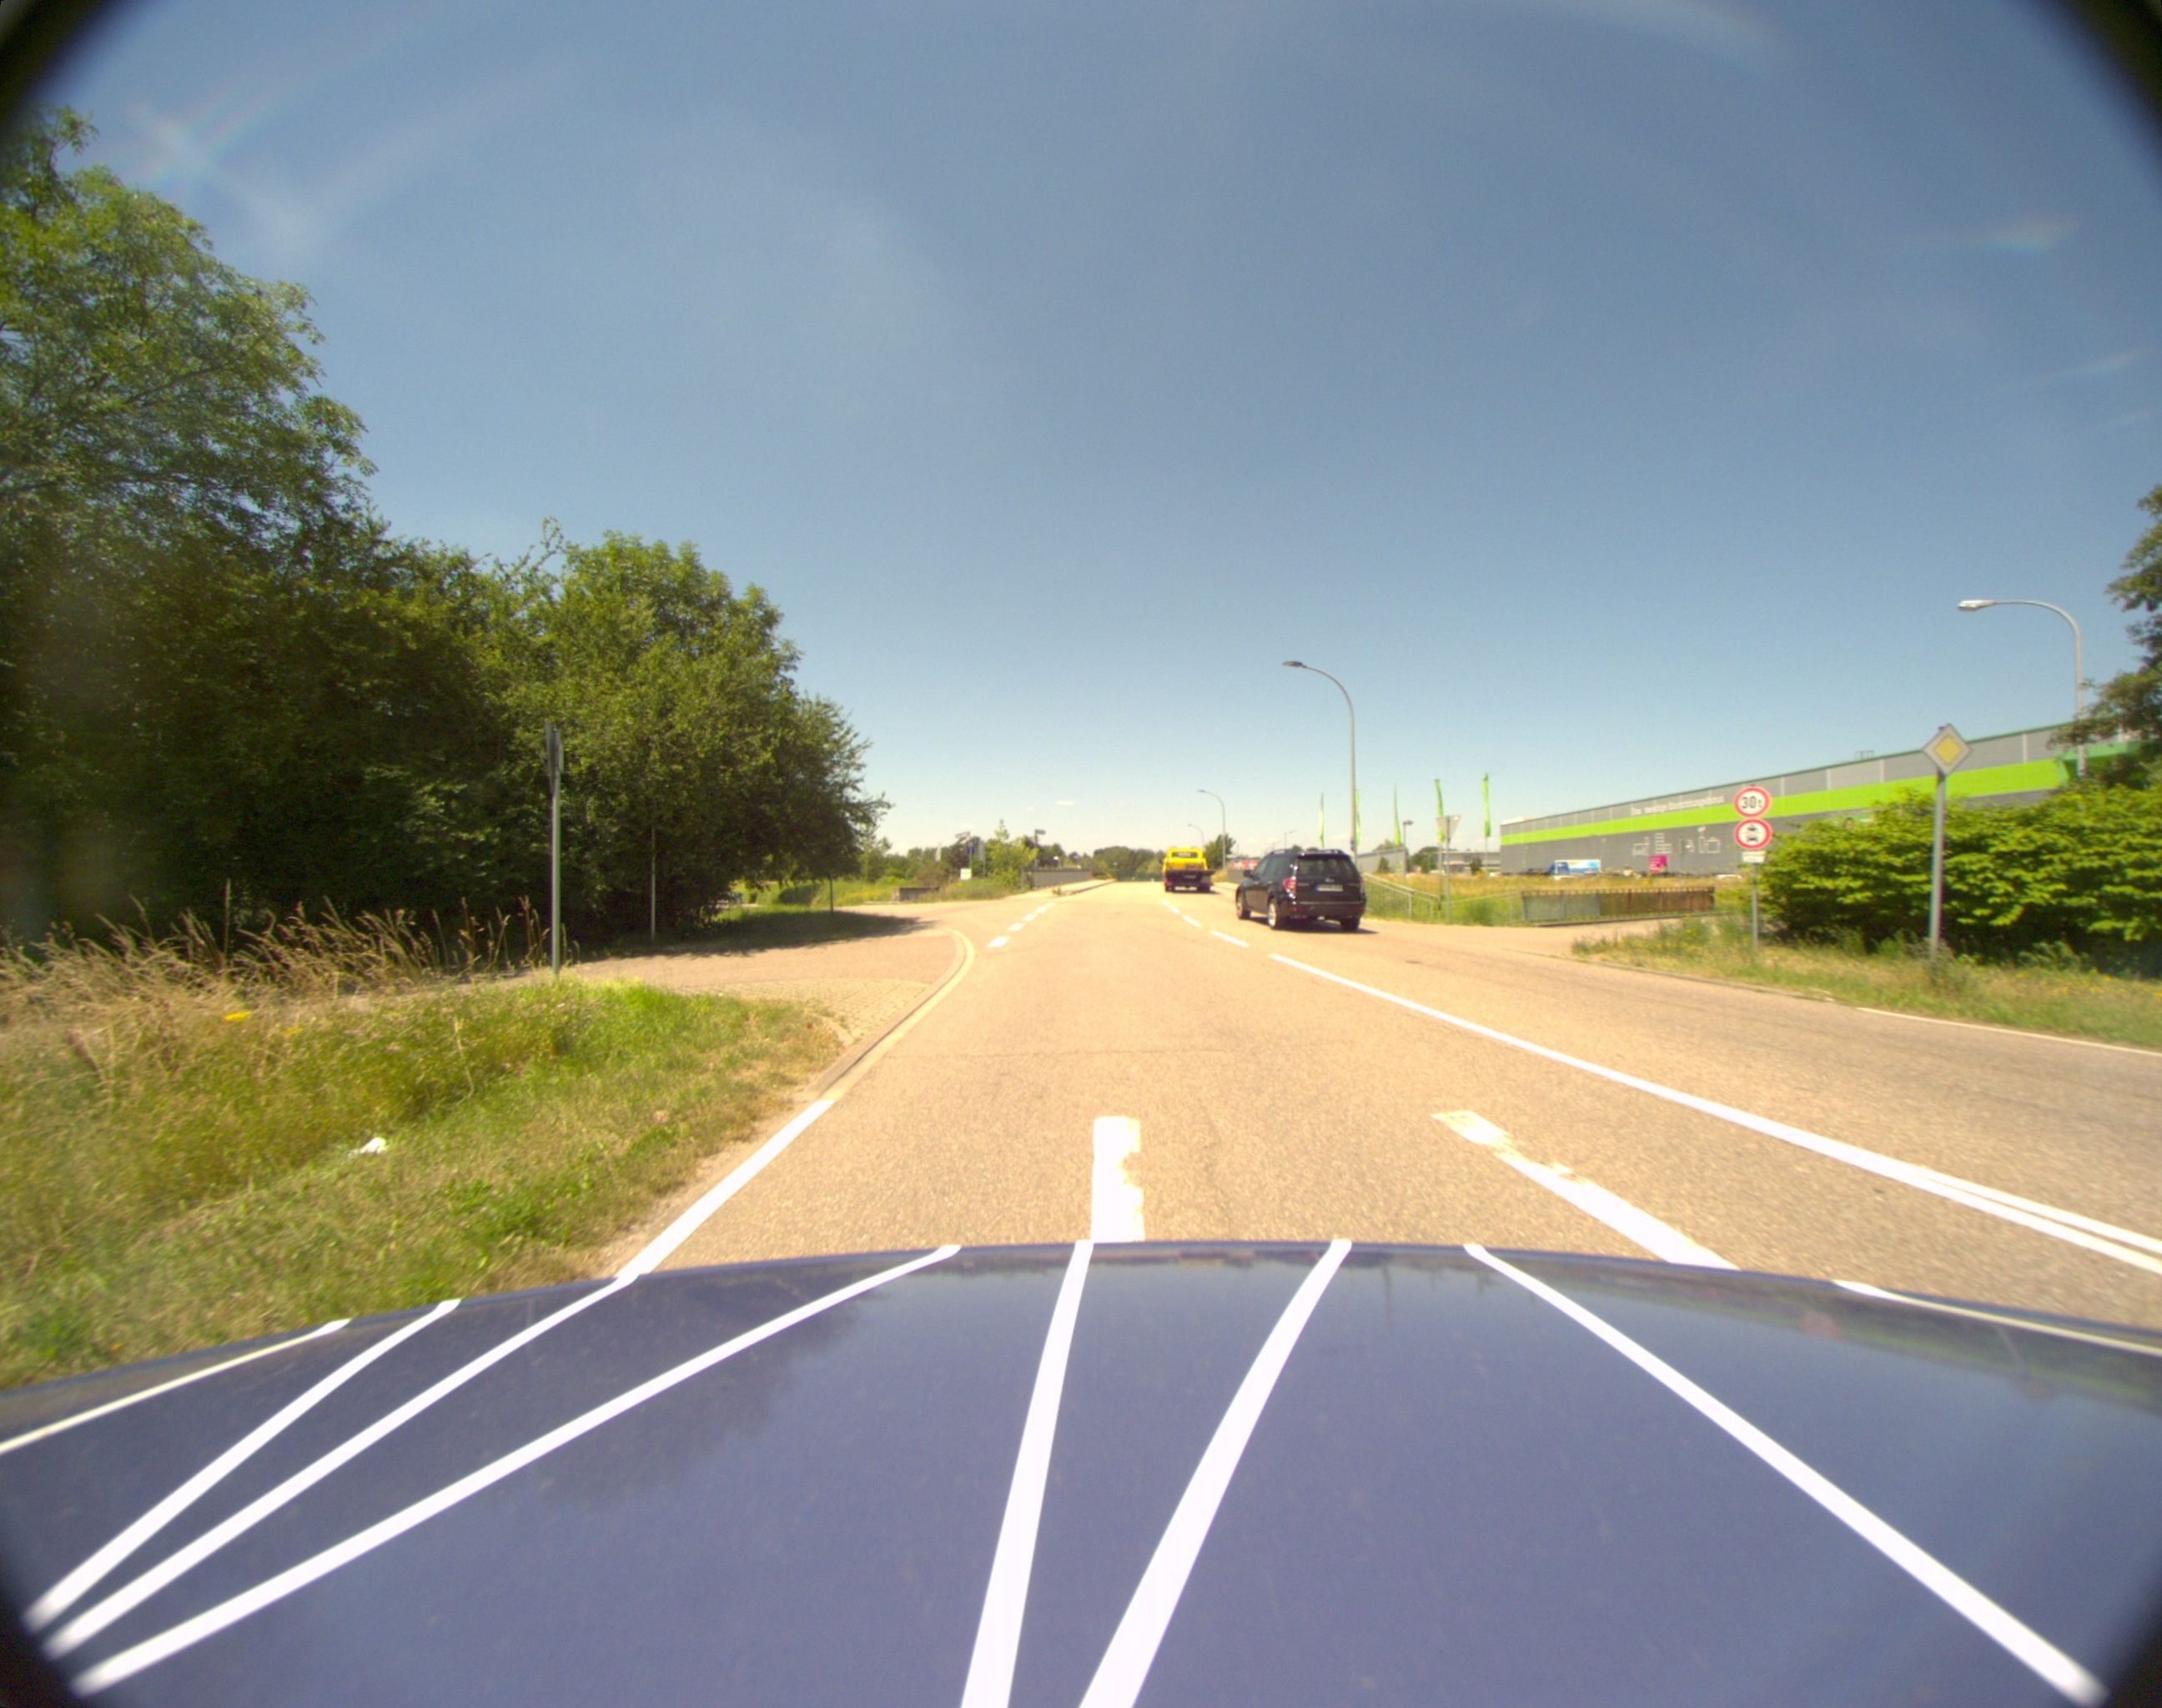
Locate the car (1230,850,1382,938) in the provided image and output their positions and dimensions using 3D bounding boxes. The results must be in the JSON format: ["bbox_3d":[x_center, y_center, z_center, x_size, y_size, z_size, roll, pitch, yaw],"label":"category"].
[{"bbox_3d":[4.739,0.776,16.646,1.907,1.692,3.999,0,0,-4],"label":"car"}]

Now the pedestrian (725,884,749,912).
[{"bbox_3d":[-17.496,2.239,38.650,0.681,1.384,0.852,1,-3,18],"label":"pedestrian"}]

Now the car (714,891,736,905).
[{"bbox_3d":[-45.439,5.569,96.976,2.004,1.614,4.502,1,-2,-32],"label":"car"}]

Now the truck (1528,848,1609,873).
[{"bbox_3d":[59.345,0.877,92.629,7.757,2.667,2.969,-4,-4,43],"label":"truck"}]

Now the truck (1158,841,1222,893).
[{"bbox_3d":[5.344,0.593,38.624,2.316,2.324,9.053,1,0,3],"label":"truck"}]

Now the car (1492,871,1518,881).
[{"bbox_3d":[81.264,4.150,145.695,3.994,1.728,2.002,-2,-1,11],"label":"car"}]
